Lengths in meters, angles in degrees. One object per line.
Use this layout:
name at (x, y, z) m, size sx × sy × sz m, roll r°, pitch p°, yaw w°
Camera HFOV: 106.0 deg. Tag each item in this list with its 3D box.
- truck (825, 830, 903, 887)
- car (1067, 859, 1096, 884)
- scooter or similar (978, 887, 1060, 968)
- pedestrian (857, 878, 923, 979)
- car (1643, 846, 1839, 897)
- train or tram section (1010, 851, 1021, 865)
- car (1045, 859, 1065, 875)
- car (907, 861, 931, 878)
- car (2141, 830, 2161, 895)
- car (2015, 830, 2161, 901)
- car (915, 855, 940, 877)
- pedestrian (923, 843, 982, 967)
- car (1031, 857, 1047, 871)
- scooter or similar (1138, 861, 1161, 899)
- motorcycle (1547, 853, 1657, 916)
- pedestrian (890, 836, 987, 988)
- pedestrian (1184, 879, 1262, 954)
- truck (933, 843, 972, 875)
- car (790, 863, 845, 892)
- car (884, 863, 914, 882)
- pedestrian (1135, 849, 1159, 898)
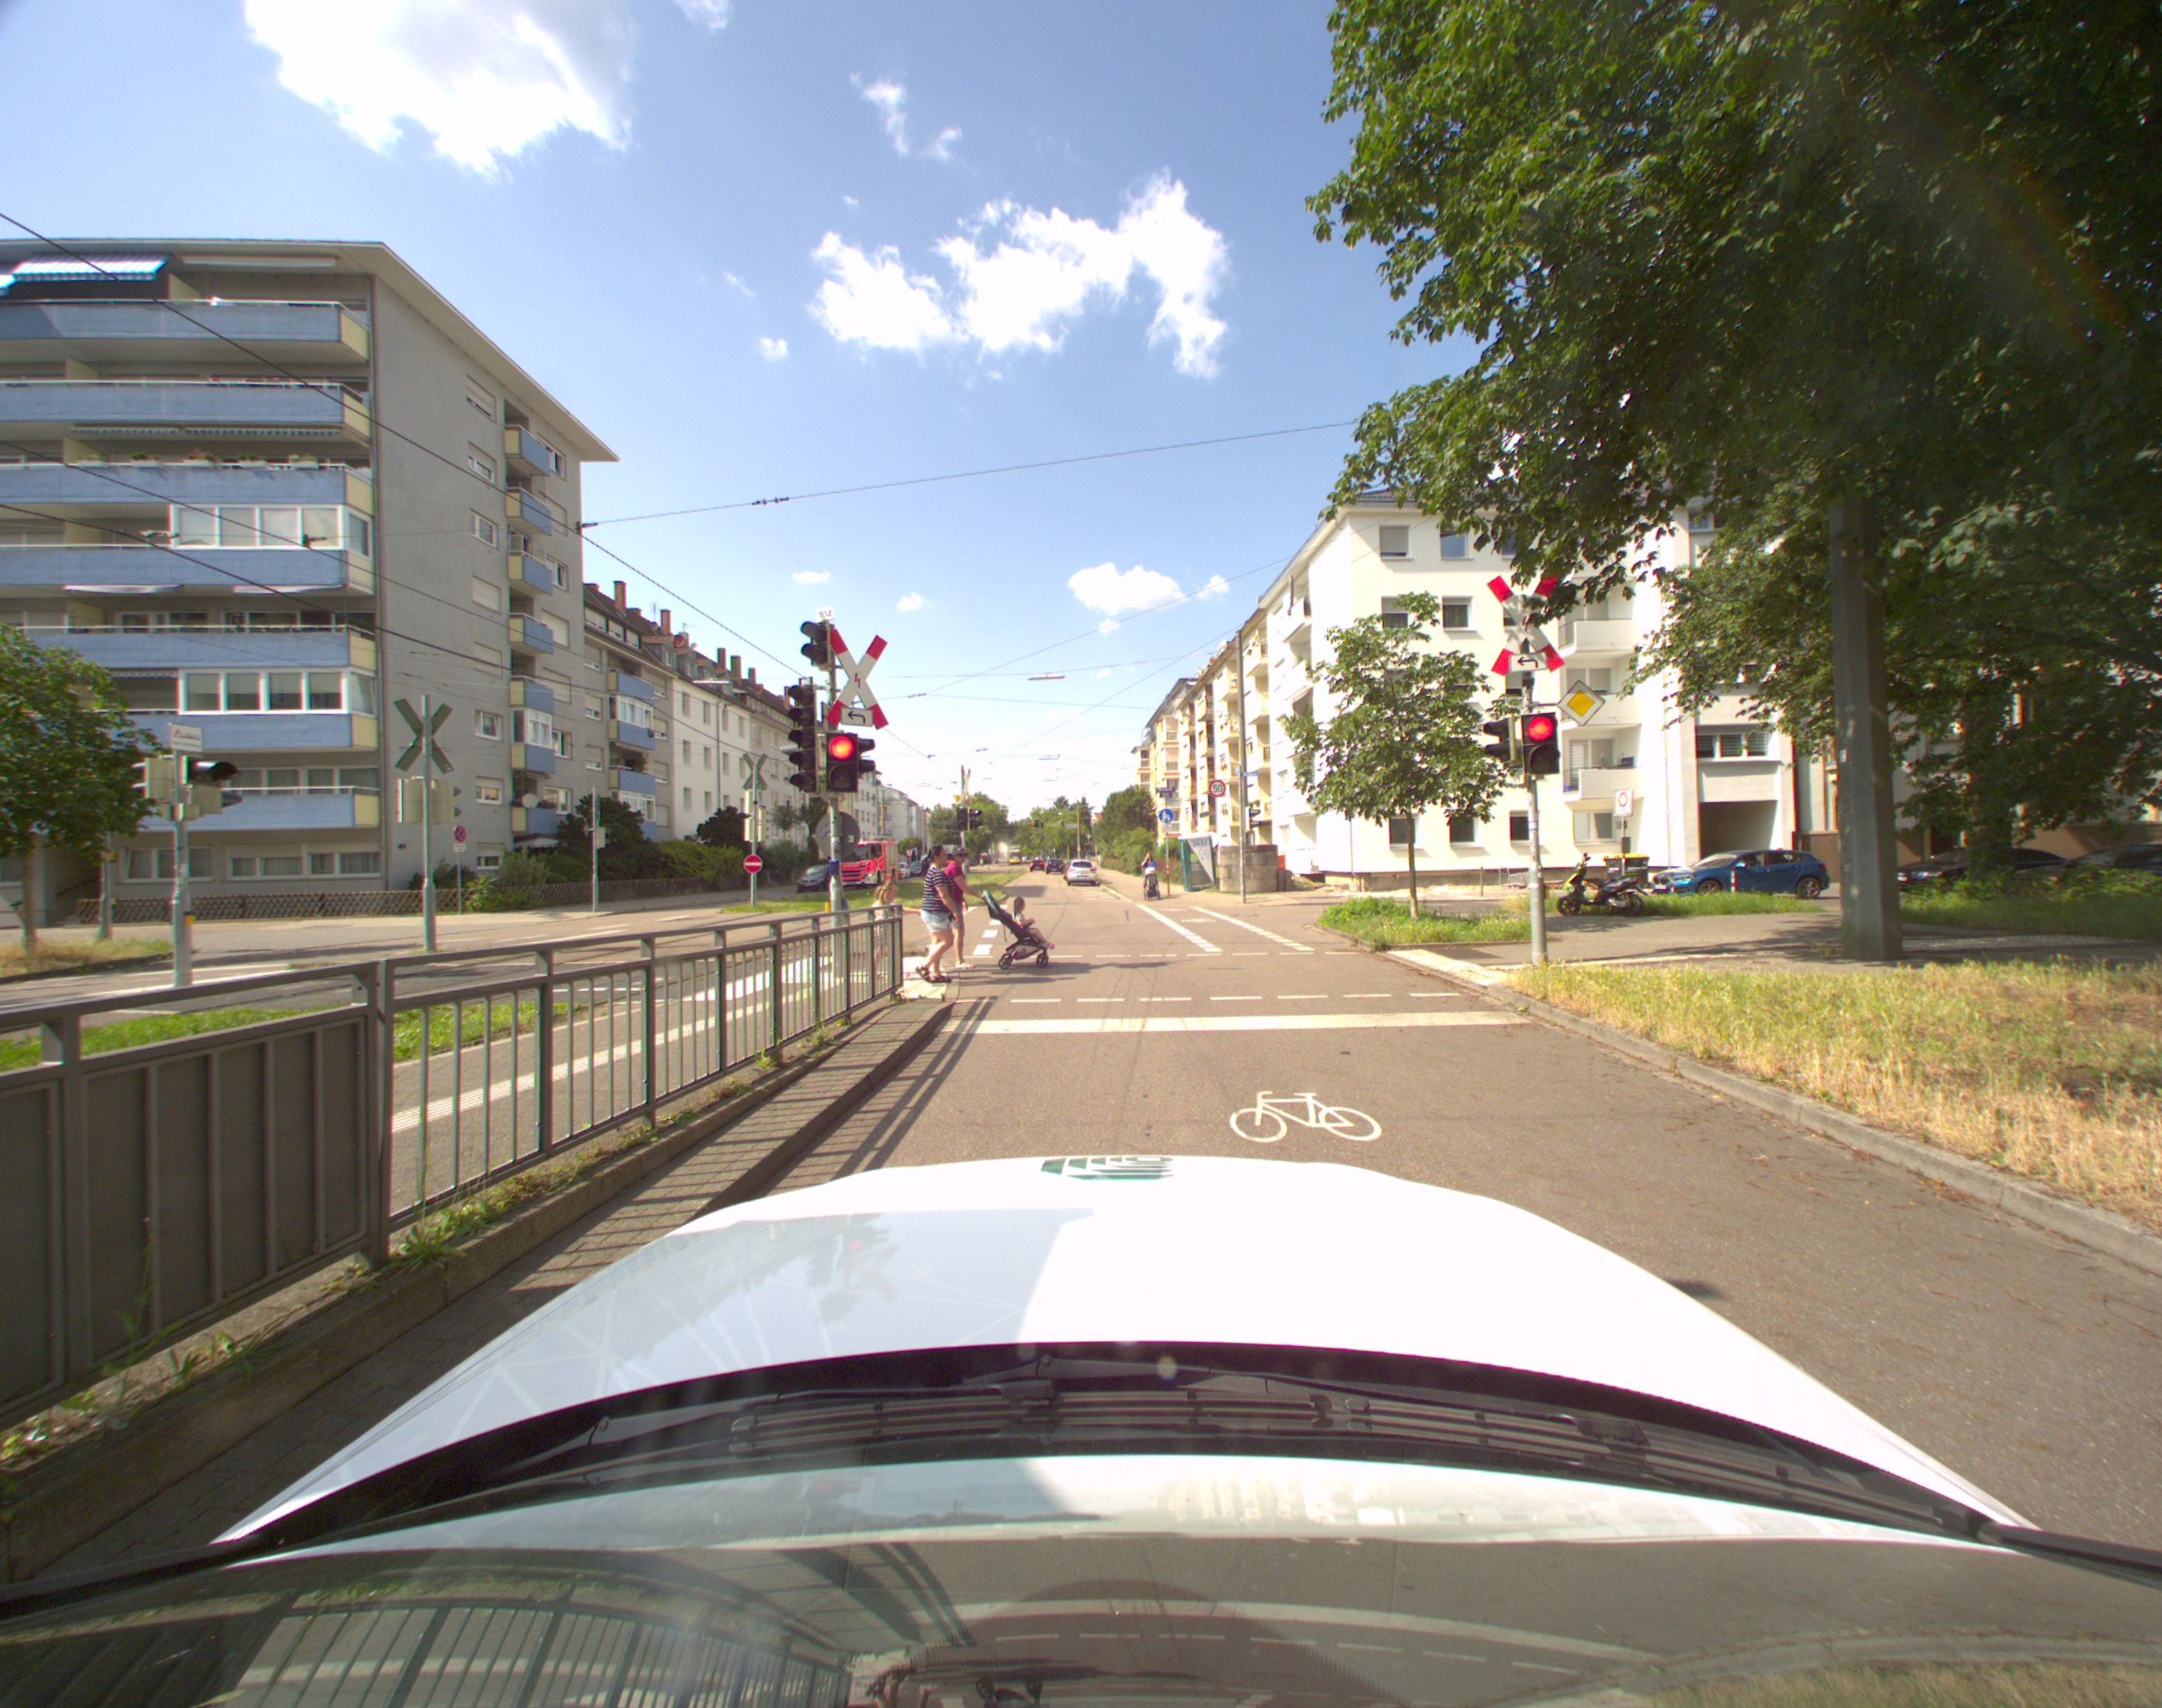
truck at (-13.236, 0.298, 50.466) m, size 2.588 × 3.186 × 8.379 m, roll 0°, pitch -1°, yaw 0°
car at (0.017, 1.032, 48.416) m, size 1.617 × 1.465 × 3.509 m, roll 0°, pitch -1°, yaw -1°
scooter or similar at (-0.841, 0.999, 11.253) m, size 1.097 × 1.056 × 0.650 m, roll 0°, pitch -1°, yaw -2°
pedestrian at (-2.398, 0.899, 10.177) m, size 0.639 × 1.180 × 0.792 m, roll -1°, pitch -1°, yaw -24°
car at (18.984, 0.483, 23.592) m, size 4.146 × 1.413 × 1.783 m, roll 0°, pitch -1°, yaw 5°
train or tram section at (-14.501, 0.916, 179.944) m, size 2.254 × 3.069 × 8.122 m, roll -2°, pitch 0°, yaw -4°
car at (-2.490, 1.278, 78.960) m, size 1.737 × 1.507 × 4.001 m, roll 0°, pitch -1°, yaw 1°
car at (-17.053, 1.586, 85.792) m, size 1.905 × 1.711 × 3.996 m, roll 0°, pitch -1°, yaw -3°
car at (26.029, 0.175, 17.463) m, size 1.794 × 1.539 × 4.013 m, roll -2°, pitch 0°, yaw 11°
car at (23.222, 0.212, 17.508) m, size 1.733 × 1.459 × 4.001 m, roll -2°, pitch 0°, yaw 1°
car at (-17.298, 1.339, 92.007) m, size 1.963 × 2.370 × 5.197 m, roll 0°, pitch -1°, yaw -2°
pedestrian at (-1.761, 0.688, 11.247) m, size 0.704 × 1.648 × 0.636 m, roll 1°, pitch -1°, yaw -3°
car at (-4.834, 1.160, 93.397) m, size 1.739 × 1.507 × 3.997 m, roll 0°, pitch -1°, yaw -1°
scooter or similar at (2.517, 0.952, 30.000) m, size 0.660 × 1.303 × 0.868 m, roll -5°, pitch 0°, yaw -1°
motorcycle at (11.040, 0.647, 17.334) m, size 0.574 × 1.215 × 1.829 m, roll -6°, pitch 1°, yaw -30°
pedestrian at (-1.671, 0.642, 9.531) m, size 0.851 × 1.667 × 0.791 m, roll -1°, pitch -1°, yaw -31°
pedestrian at (4.251, 1.824, 25.015) m, size 1.984 × 2.014 × 4.004 m, roll 0°, pitch -1°, yaw 4°
truck at (-14.535, 0.597, 92.862) m, size 2.657 × 3.471 × 10.168 m, roll 0°, pitch -1°, yaw 1°
car at (-15.780, 1.396, 48.983) m, size 1.987 × 1.645 × 3.999 m, roll 0°, pitch -1°, yaw 0°
car at (-16.889, 1.670, 75.899) m, size 1.988 × 1.711 × 3.997 m, roll 0°, pitch -1°, yaw -2°
pedestrian at (2.495, 0.724, 30.899) m, size 0.699 × 1.789 × 1.030 m, roll -4°, pitch 0°, yaw 0°
